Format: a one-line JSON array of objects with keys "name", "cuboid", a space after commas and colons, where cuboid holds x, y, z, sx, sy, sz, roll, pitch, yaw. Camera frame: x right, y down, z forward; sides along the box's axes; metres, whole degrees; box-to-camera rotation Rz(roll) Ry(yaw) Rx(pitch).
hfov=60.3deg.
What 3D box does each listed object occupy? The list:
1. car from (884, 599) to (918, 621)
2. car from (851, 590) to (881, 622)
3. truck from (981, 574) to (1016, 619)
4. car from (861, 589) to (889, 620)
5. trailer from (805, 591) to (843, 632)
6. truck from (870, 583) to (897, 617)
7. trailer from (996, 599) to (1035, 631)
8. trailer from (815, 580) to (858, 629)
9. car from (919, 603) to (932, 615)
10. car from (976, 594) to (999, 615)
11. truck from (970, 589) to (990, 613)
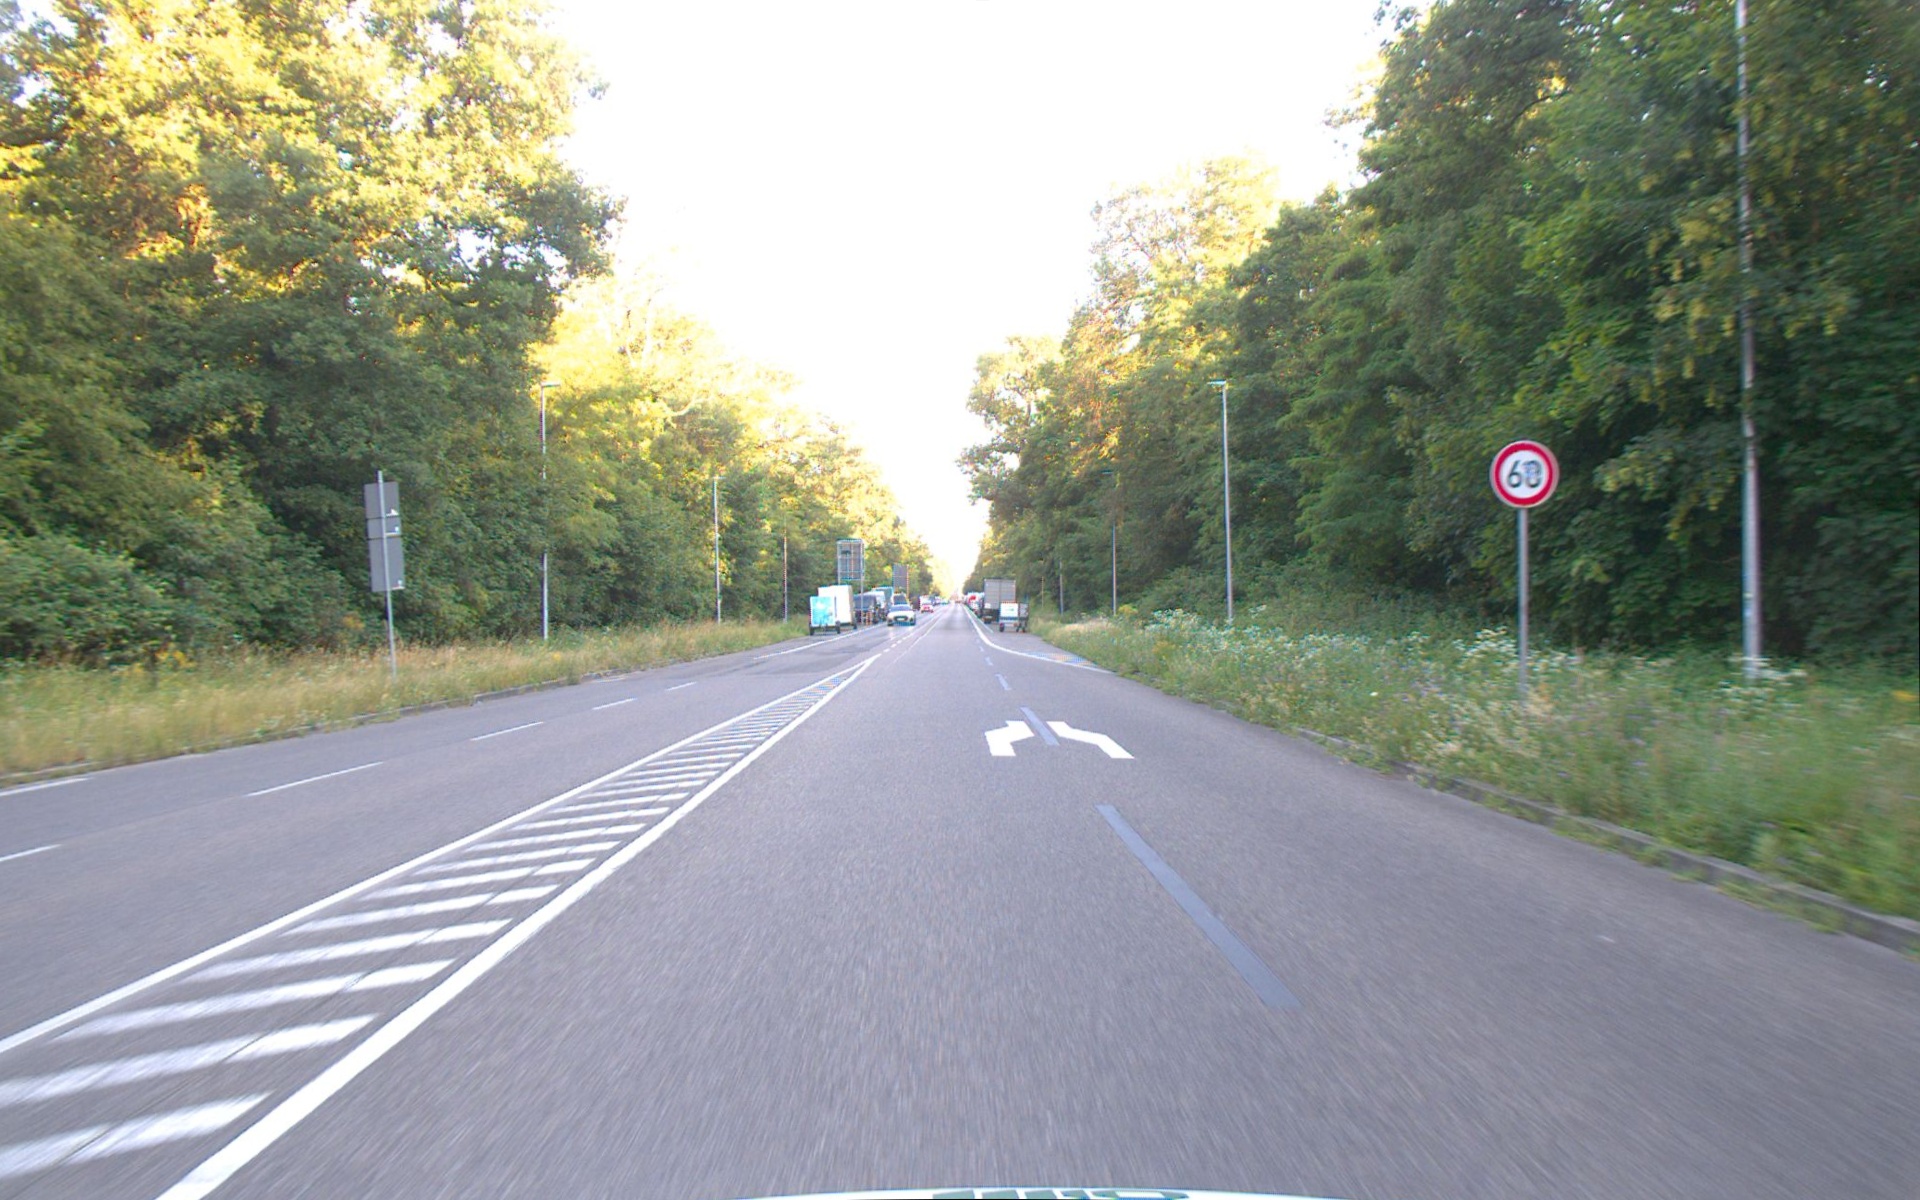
[{"name": "car", "cuboid": [-4.214, 0.694, 118.268, 2.021, 1.460, 4.467, -3, 0, 2]}, {"name": "car", "cuboid": [-7.586, 0.488, 134.231, 1.953, 2.405, 5.765, -4, 0, 0]}, {"name": "truck", "cuboid": [2.882, -0.238, 124.546, 2.535, 3.312, 7.221, 0, 0, 1]}, {"name": "car", "cuboid": [-7.713, 0.352, 150.759, 2.203, 2.694, 5.721, -2, 0, 0]}, {"name": "trailer", "cuboid": [-7.575, 0.619, 92.289, 1.780, 2.205, 4.142, -2, 0, -1]}, {"name": "truck", "cuboid": [-8.125, -0.014, 176.332, 2.453, 3.387, 6.841, -2, 0, 0]}, {"name": "trailer", "cuboid": [3.098, 0.810, 92.338, 1.425, 1.691, 3.780, -2, 0, 13]}, {"name": "trailer", "cuboid": [-8.018, 0.278, 107.895, 2.279, 2.975, 5.626, -3, 0, -1]}, {"name": "car", "cuboid": [-4.766, 1.186, 226.039, 1.649, 1.512, 4.036, -2, 0, -2]}, {"name": "car", "cuboid": [2.638, 0.452, 158.447, 1.953, 1.989, 4.297, 0, 0, -2]}, {"name": "truck", "cuboid": [2.299, 0.093, 190.140, 2.098, 2.706, 4.297, 0, 0, -2]}]
